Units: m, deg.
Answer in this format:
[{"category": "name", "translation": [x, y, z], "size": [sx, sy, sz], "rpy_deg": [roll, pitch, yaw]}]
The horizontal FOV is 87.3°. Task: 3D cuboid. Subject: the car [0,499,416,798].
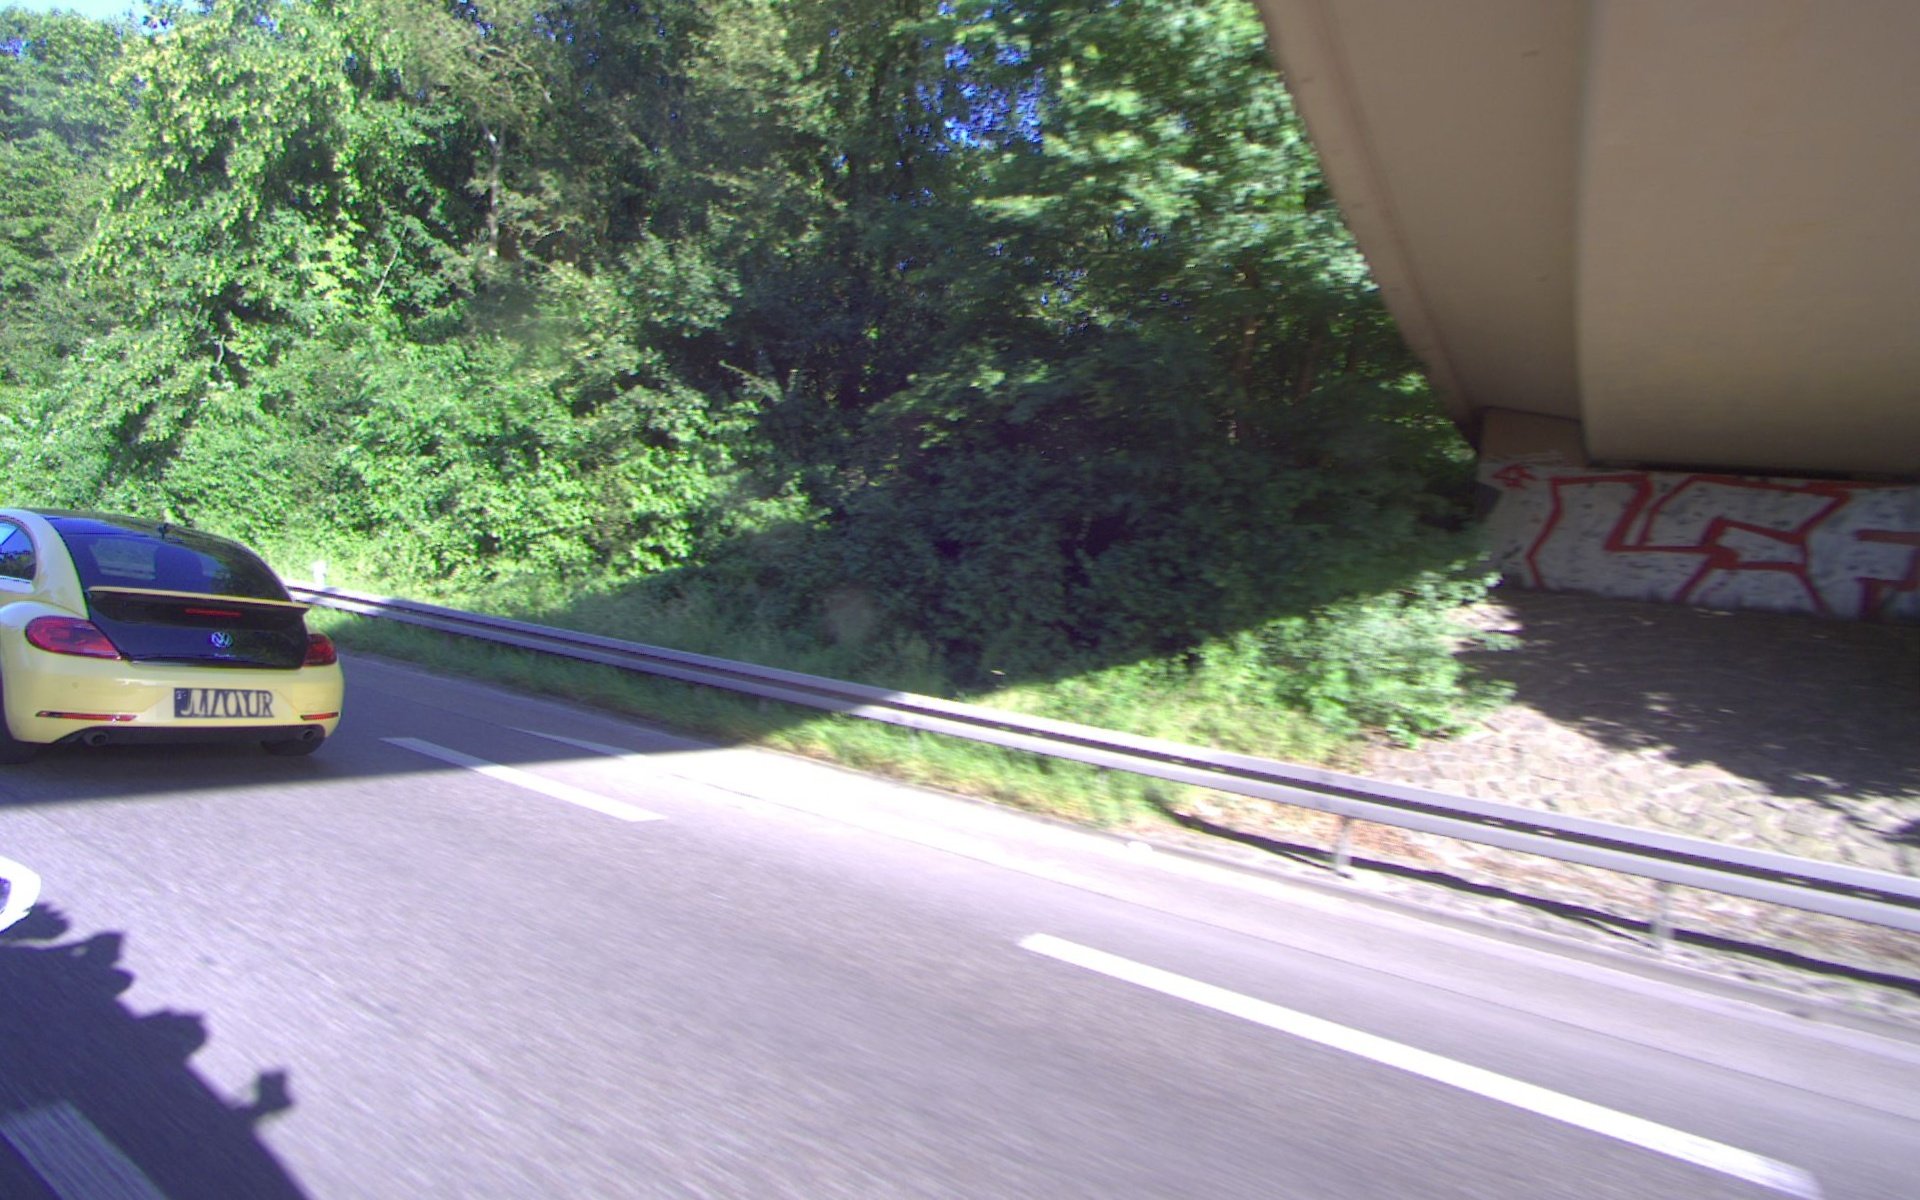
[{"category": "car", "translation": [-6.020, 0.135, 7.013], "size": [4.283, 1.479, 1.883], "rpy_deg": [7, -1, 31]}]
